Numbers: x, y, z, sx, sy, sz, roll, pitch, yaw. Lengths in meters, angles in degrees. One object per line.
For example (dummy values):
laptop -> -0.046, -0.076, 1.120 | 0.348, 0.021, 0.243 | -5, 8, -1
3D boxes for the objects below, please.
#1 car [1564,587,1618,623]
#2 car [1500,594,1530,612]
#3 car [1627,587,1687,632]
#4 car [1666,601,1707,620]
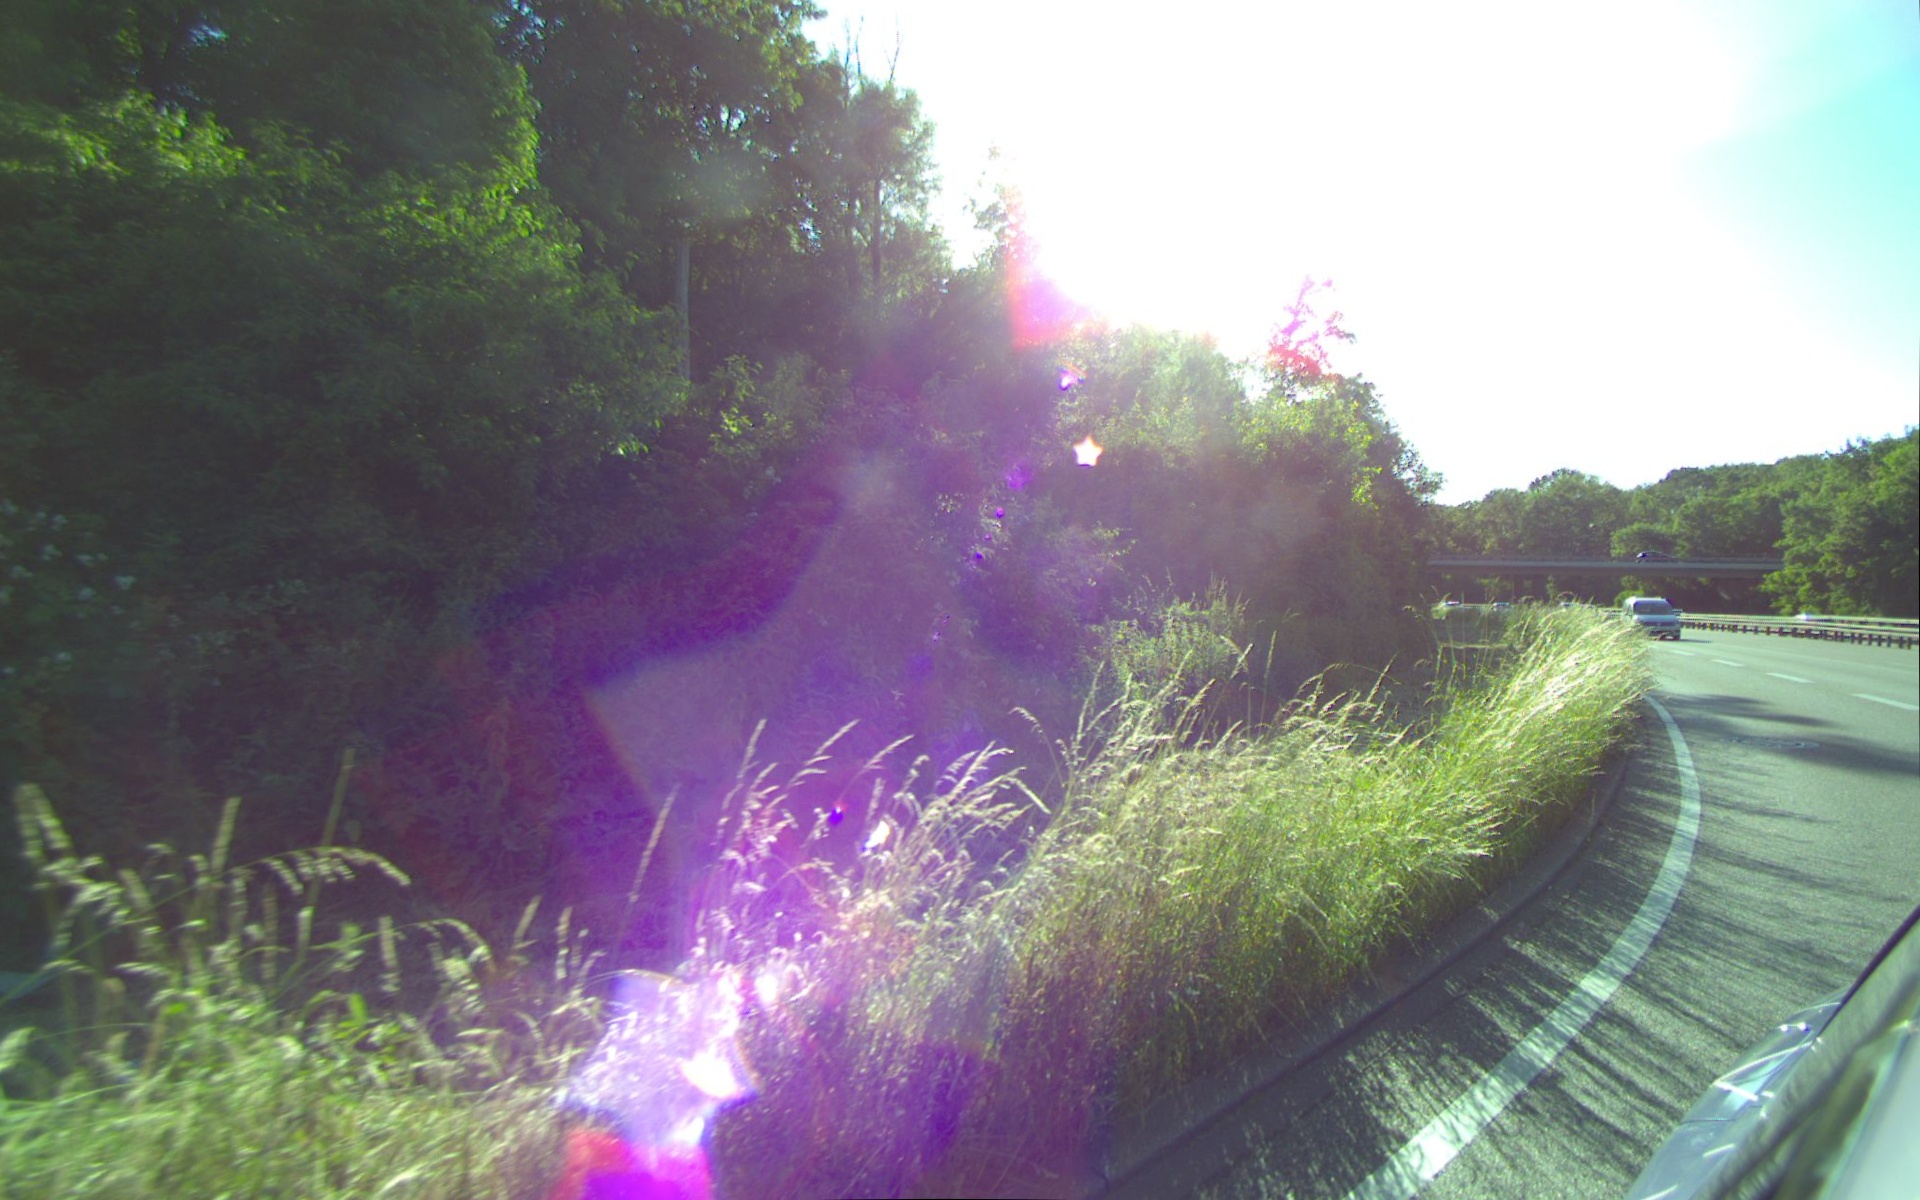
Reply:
car -> 39.490, 0.271, 63.473 | 2.235, 1.875, 5.101 | 1, 4, 25
car -> 51.708, 0.271, 94.334 | 1.914, 1.526, 5.048 | 1, 2, 23
car -> 30.812, 0.383, 44.854 | 1.786, 1.829, 4.783 | 0, 1, 30
car -> 69.649, 0.969, 97.083 | 1.974, 1.670, 4.396 | 1, 0, 19
